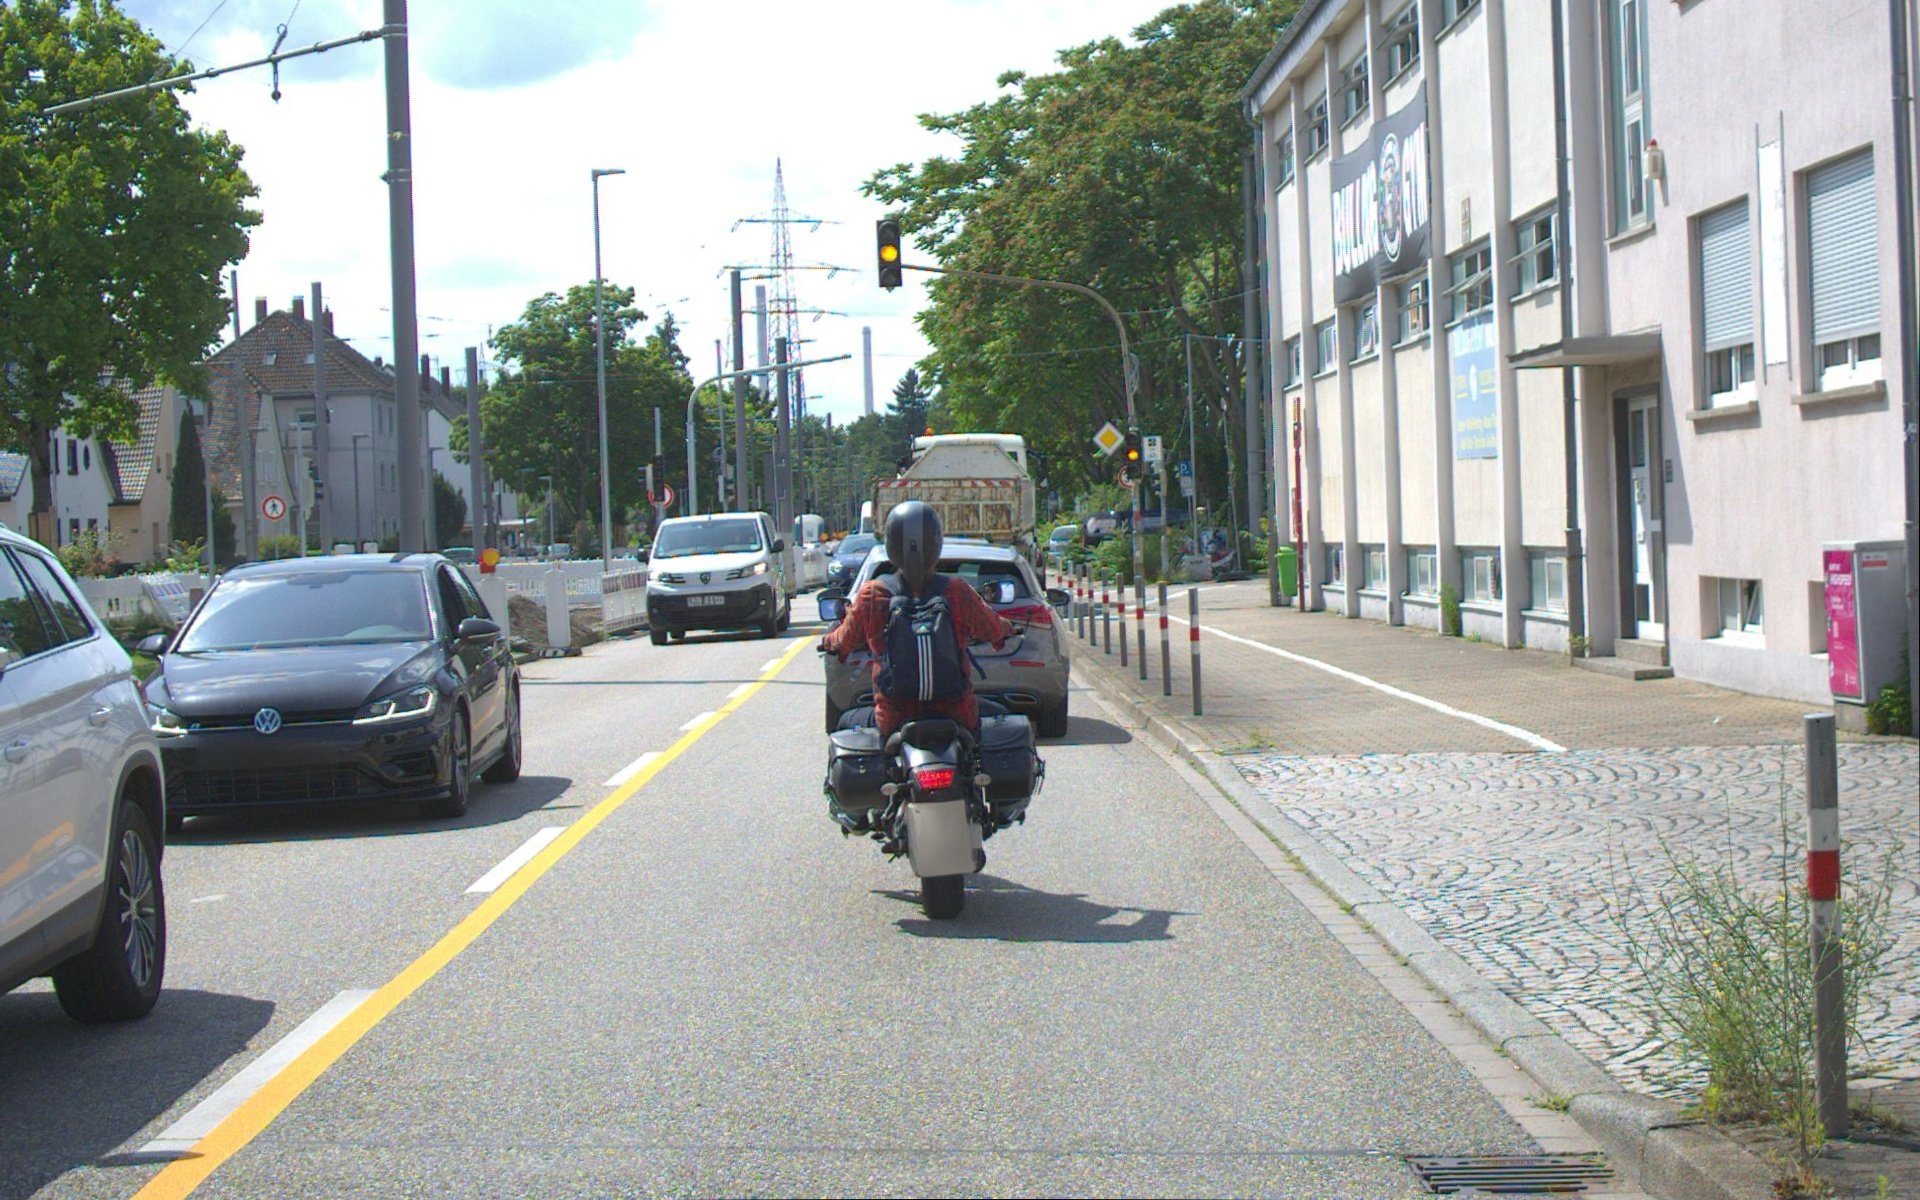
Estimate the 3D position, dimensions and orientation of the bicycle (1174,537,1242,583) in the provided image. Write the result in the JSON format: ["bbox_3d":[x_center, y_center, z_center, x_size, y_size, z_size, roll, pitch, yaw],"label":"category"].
[{"bbox_3d":[6.283,-1.016,87.224,1.708,1.168,0.438,0,0,5],"label":"bicycle"}]

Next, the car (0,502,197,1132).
[{"bbox_3d":[-3.475,0.609,9.246,1.824,1.660,4.462,-3,1,-1],"label":"car"}]

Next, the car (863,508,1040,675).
[{"bbox_3d":[-0.037,-0.156,40.303,1.901,1.706,4.719,-2,2,1],"label":"car"}]

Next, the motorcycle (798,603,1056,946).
[{"bbox_3d":[-0.127,0.642,13.840,0.942,1.196,2.472,0,1,0],"label":"motorcycle"}]

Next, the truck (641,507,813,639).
[{"bbox_3d":[-3.481,-0.464,52.358,1.820,1.903,5.116,0,1,5],"label":"truck"}]

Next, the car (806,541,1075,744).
[{"bbox_3d":[-0.229,0.267,26.250,1.731,1.399,4.087,0,1,-5],"label":"car"}]

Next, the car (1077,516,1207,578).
[{"bbox_3d":[5.675,-1.635,106.854,3.989,1.919,1.802,0,1,-45],"label":"car"}]

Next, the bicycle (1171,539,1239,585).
[{"bbox_3d":[6.189,-0.953,86.763,1.708,1.168,0.438,0,0,5],"label":"bicycle"}]

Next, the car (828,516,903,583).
[{"bbox_3d":[-2.198,-1.202,80.686,1.645,1.493,4.269,-1,2,0],"label":"car"}]

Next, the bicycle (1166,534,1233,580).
[{"bbox_3d":[6.115,-1.106,87.771,1.708,1.168,0.438,0,0,5],"label":"bicycle"}]

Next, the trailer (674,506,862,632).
[{"bbox_3d":[-3.057,-0.532,56.104,2.063,1.829,5.484,-4,1,7],"label":"trailer"}]

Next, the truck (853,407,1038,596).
[{"bbox_3d":[-0.154,-1.695,61.508,2.967,3.162,7.763,0,1,2],"label":"truck"}]

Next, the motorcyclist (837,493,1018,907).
[{"bbox_3d":[-0.127,0.384,13.656,0.698,1.599,0.692,0,0,0],"label":"motorcyclist"}]

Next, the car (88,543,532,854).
[{"bbox_3d":[-3.494,0.474,19.144,1.692,1.408,3.860,-5,1,-1],"label":"car"}]

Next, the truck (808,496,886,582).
[{"bbox_3d":[-3.525,-1.951,108.061,2.093,2.468,5.196,-3,2,1],"label":"truck"}]
